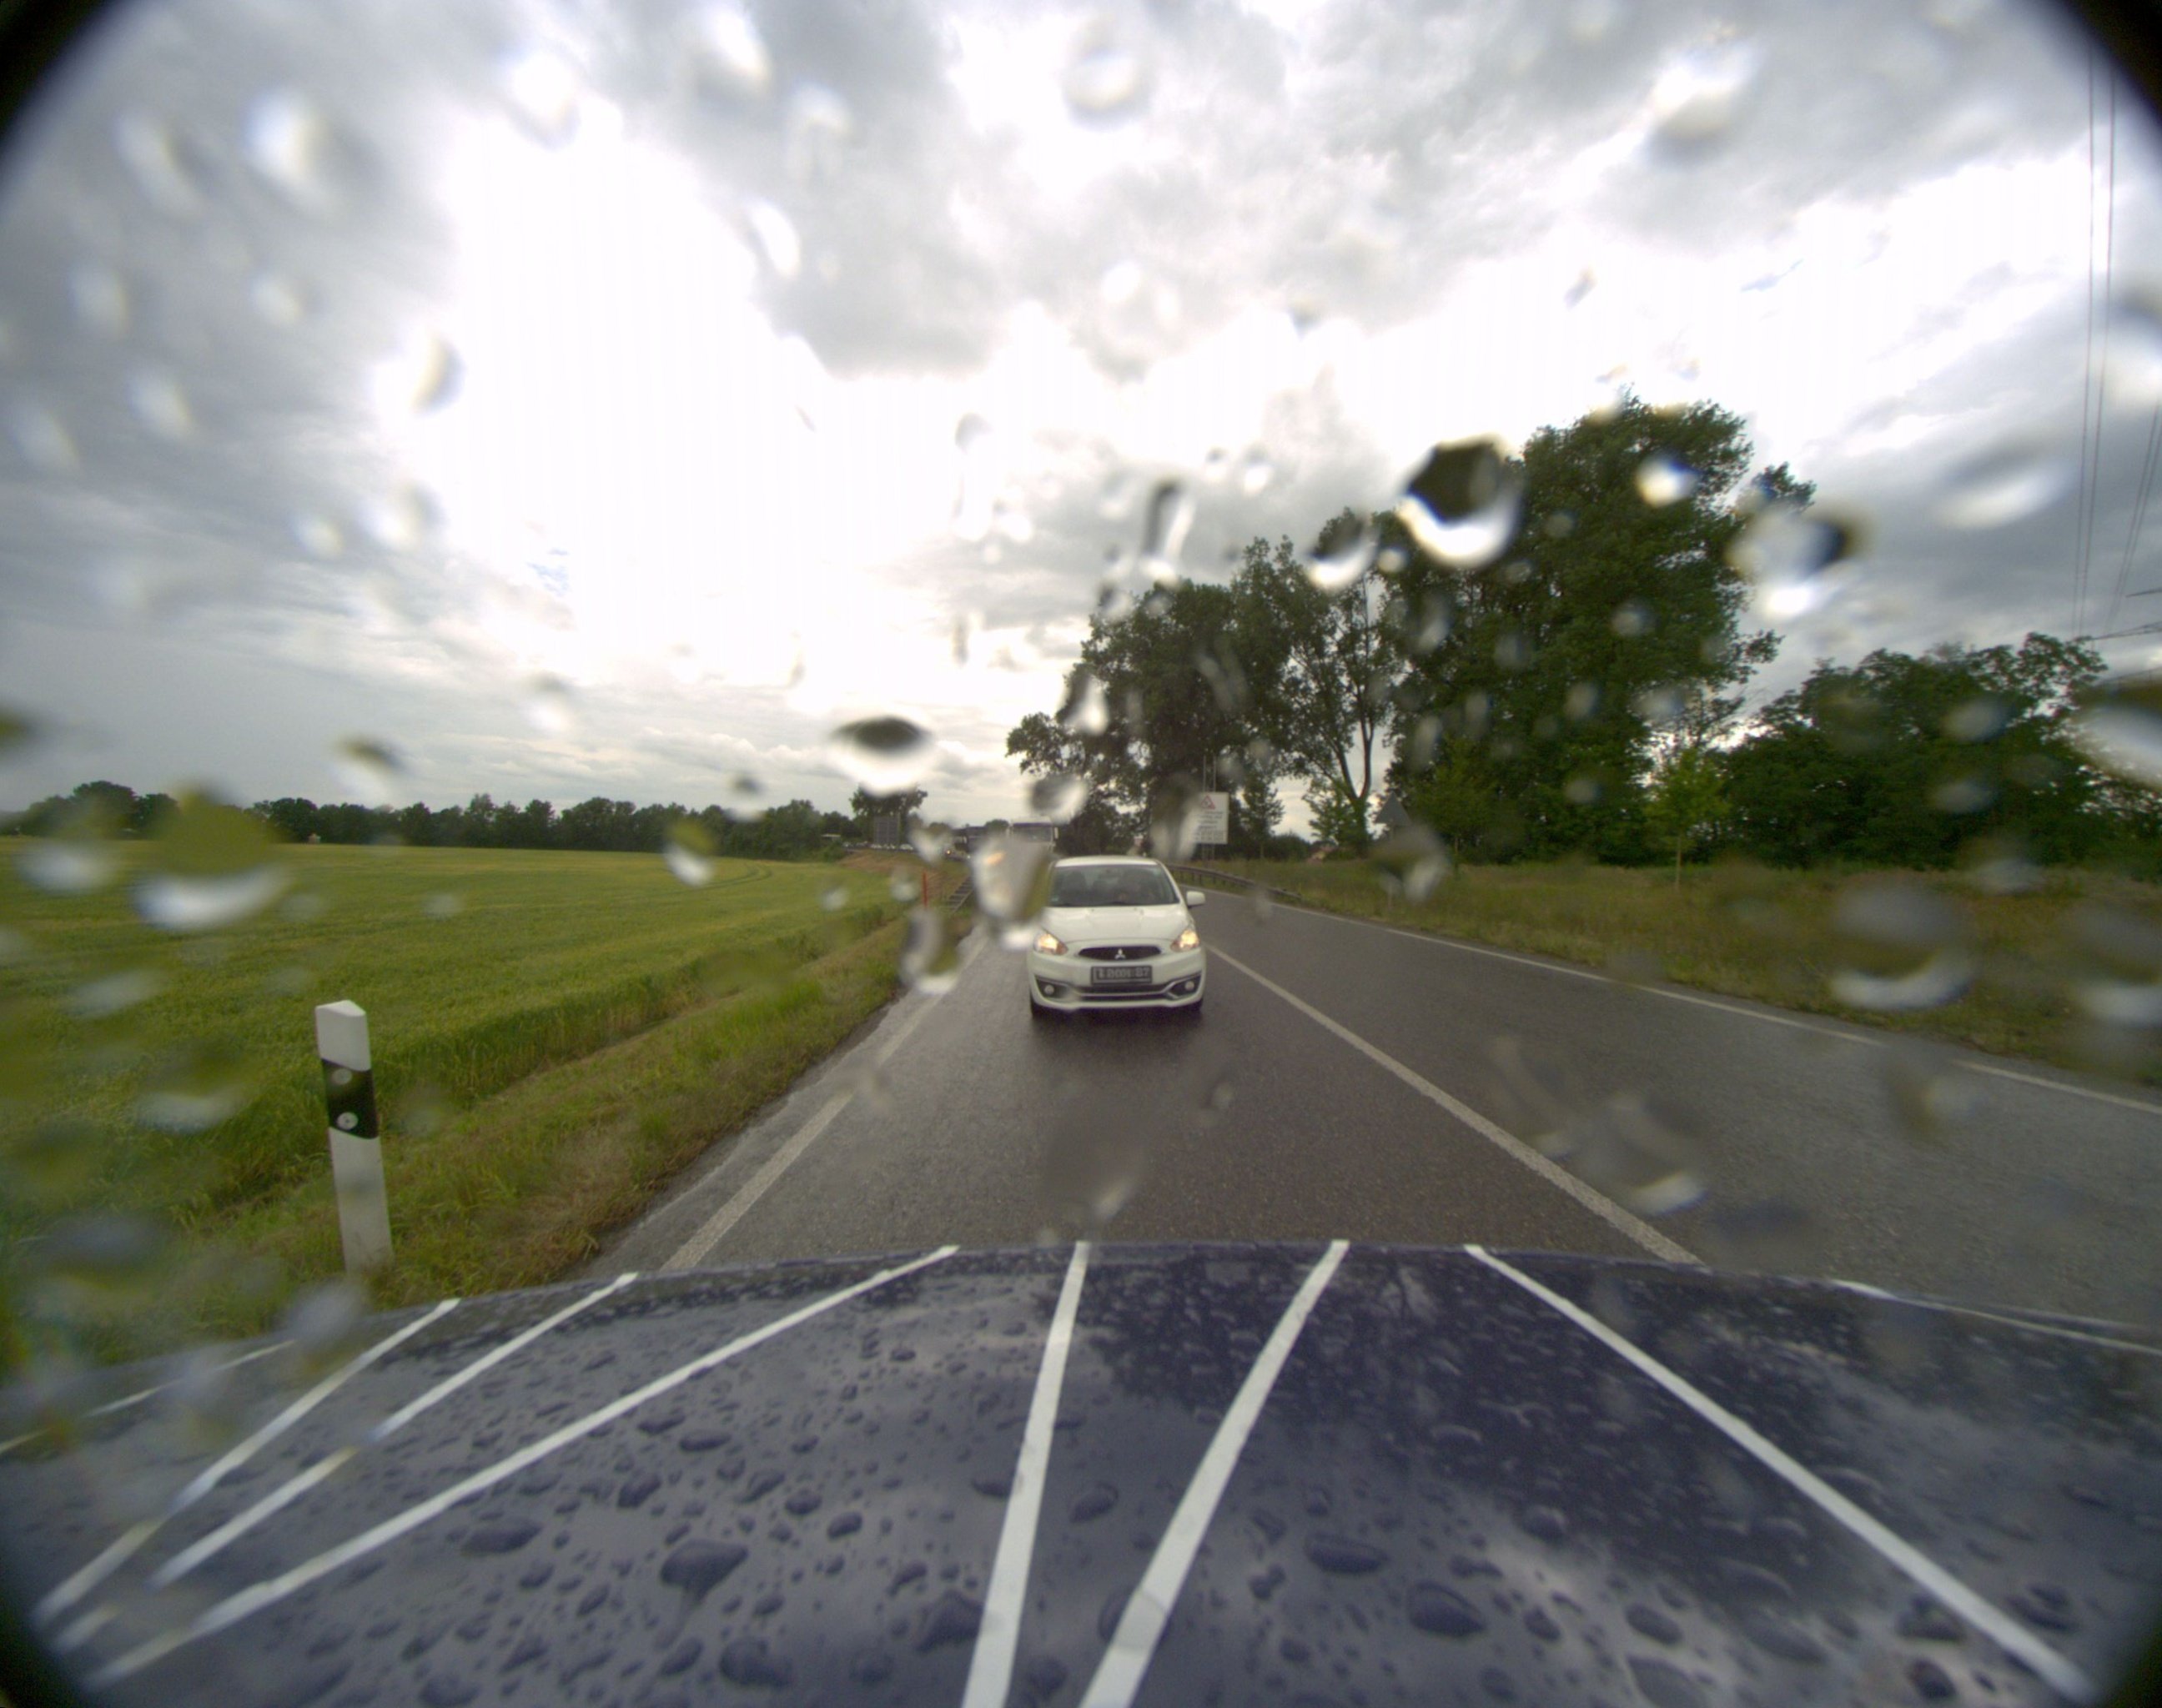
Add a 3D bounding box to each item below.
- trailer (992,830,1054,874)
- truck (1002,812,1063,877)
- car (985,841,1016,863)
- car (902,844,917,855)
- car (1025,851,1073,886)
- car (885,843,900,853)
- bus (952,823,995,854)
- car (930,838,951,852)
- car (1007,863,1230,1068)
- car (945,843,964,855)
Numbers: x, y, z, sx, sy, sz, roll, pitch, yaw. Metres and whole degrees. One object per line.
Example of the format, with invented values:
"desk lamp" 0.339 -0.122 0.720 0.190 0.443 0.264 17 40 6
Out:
"trailer" -4.475 -0.305 54.720 2.986 2.618 15.664 -2 1 -10
"truck" -3.044 -0.621 46.249 2.986 3.590 6.074 -2 2 -10
"car" -7.430 -0.236 69.694 2.044 1.832 5.328 -2 2 -14
"car" -32.214 -0.934 143.033 2.002 2.002 4.223 -2 2 -22
"car" -1.541 0.638 35.012 1.782 1.380 4.324 -2 1 -7
"car" -39.107 -1.266 157.251 2.003 2.002 4.255 -3 2 -28
"bus" -12.811 -1.915 89.430 2.967 3.294 14.812 -2 2 -16
"car" -21.597 -1.388 116.741 2.002 2.002 5.324 -2 2 -23
"car" 0.269 0.865 7.760 1.653 1.461 4.029 -2 0 -1
"car" -17.279 -0.659 103.513 1.816 1.569 3.992 -2 2 -20
